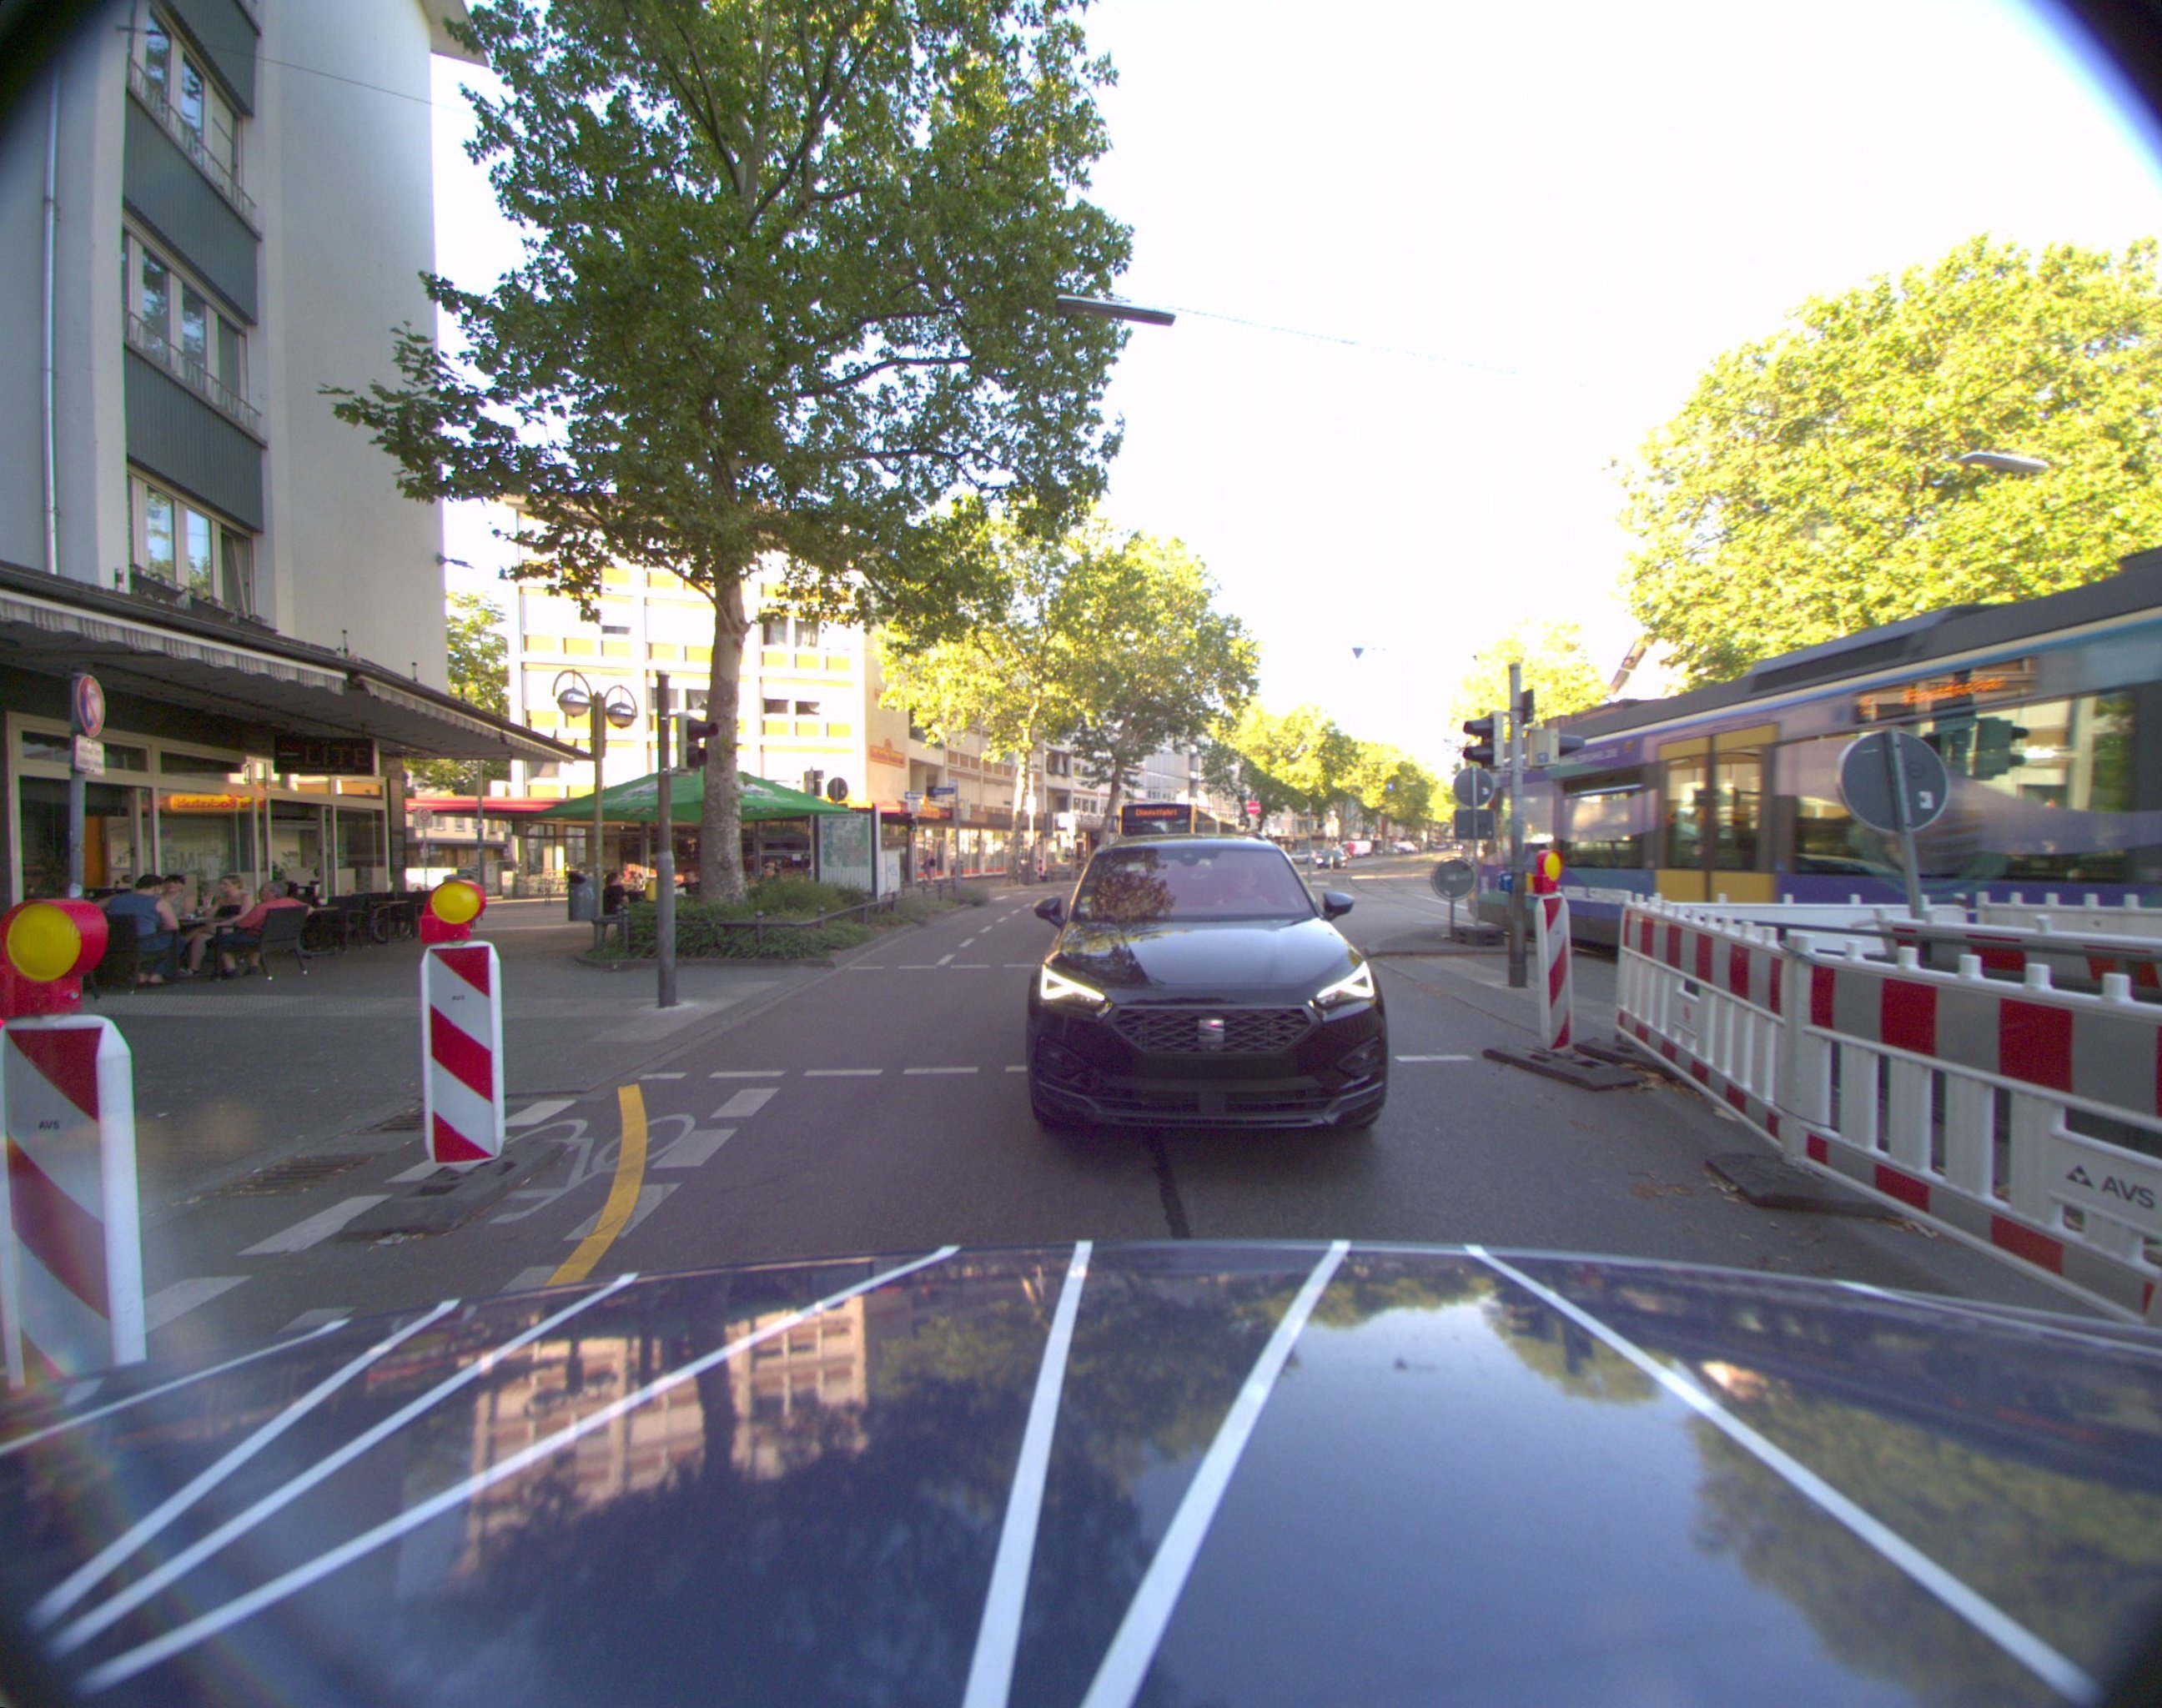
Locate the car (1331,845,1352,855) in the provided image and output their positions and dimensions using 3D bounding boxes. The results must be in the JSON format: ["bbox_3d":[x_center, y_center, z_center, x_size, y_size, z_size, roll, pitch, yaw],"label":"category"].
[{"bbox_3d":[36.703,-0.625,107.034,2.627,1.338,1.201,-1,2,3],"label":"car"}]

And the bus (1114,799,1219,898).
[{"bbox_3d":[3.523,-0.227,28.630,2.750,3.085,9.506,0,1,14],"label":"bus"}]

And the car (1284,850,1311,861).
[{"bbox_3d":[24.235,0.135,85.075,2.629,1.209,1.200,-1,2,-6],"label":"car"}]

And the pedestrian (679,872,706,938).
[{"bbox_3d":[-7.415,0.960,14.499,0.433,1.212,0.467,0,1,-29],"label":"pedestrian"}]

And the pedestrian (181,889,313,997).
[{"bbox_3d":[-9.851,1.019,9.015,0.847,1.191,0.649,1,0,-22],"label":"pedestrian"}]

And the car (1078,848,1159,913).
[{"bbox_3d":[1.098,0.624,20.166,1.743,1.492,4.301,-2,0,7],"label":"car"}]

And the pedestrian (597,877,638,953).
[{"bbox_3d":[-7.784,1.011,12.764,0.469,1.212,0.431,-2,1,-44],"label":"pedestrian"}]

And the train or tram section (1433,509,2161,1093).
[{"bbox_3d":[7.924,-0.375,9.013,2.842,3.467,10.338,-1,1,1],"label":"train or tram section"}]

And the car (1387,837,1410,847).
[{"bbox_3d":[64.313,-2.485,153.885,4.000,2.002,1.879,-1,1,-8],"label":"car"}]

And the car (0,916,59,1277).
[{"bbox_3d":[-5.152,0.992,1.441,1.623,1.457,3.604,2,0,-2],"label":"car"}]

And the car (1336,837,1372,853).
[{"bbox_3d":[40.630,-1.320,113.133,4.868,2.362,1.878,-1,2,-10],"label":"car"}]

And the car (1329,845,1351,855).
[{"bbox_3d":[35.457,-0.551,104.240,2.627,1.380,1.201,-1,2,3],"label":"car"}]

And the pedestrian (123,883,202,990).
[{"bbox_3d":[-11.247,0.986,9.307,0.519,1.236,0.553,0,0,34],"label":"pedestrian"}]

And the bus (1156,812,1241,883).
[{"bbox_3d":[6.059,-0.338,37.745,2.749,3.085,9.508,0,1,17],"label":"bus"}]

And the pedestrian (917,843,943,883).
[{"bbox_3d":[-6.786,0.403,34.153,0.748,1.747,0.903,0,1,17],"label":"pedestrian"}]

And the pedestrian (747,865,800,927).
[{"bbox_3d":[-6.545,0.885,16.200,0.718,1.278,0.769,-1,1,13],"label":"pedestrian"}]

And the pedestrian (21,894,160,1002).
[{"bbox_3d":[-11.090,1.026,8.539,0.718,1.123,0.649,1,0,-24],"label":"pedestrian"}]

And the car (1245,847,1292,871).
[{"bbox_3d":[13.649,0.313,55.045,1.952,1.541,4.765,0,2,31],"label":"car"}]

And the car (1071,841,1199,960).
[{"bbox_3d":[0.966,0.642,12.801,1.743,1.630,4.300,-2,0,6],"label":"car"}]

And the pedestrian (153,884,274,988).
[{"bbox_3d":[-10.696,0.986,9.395,0.666,1.211,0.717,0,0,-5],"label":"pedestrian"}]

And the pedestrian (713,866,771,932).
[{"bbox_3d":[-6.813,0.888,15.276,0.718,1.278,0.769,-1,1,14],"label":"pedestrian"}]

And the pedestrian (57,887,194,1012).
[{"bbox_3d":[-10.223,0.984,8.164,0.651,1.244,0.716,0,0,-24],"label":"pedestrian"}]

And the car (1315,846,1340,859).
[{"bbox_3d":[29.777,-0.163,91.693,2.627,1.464,1.201,-1,2,3],"label":"car"}]

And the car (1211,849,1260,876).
[{"bbox_3d":[9.472,0.455,46.248,1.908,1.467,4.425,0,2,26],"label":"car"}]

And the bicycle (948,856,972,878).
[{"bbox_3d":[-6.673,0.697,42.048,0.528,1.136,1.976,-1,1,15],"label":"bicycle"}]

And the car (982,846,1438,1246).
[{"bbox_3d":[0.681,0.802,5.326,1.848,1.648,4.300,-2,0,4],"label":"car"}]

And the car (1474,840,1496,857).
[{"bbox_3d":[46.929,-0.669,88.212,1.994,1.856,4.007,0,1,31],"label":"car"}]

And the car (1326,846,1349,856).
[{"bbox_3d":[34.050,-0.402,100.955,2.627,1.274,1.201,-1,2,3],"label":"car"}]

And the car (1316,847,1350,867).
[{"bbox_3d":[20.073,0.209,60.383,1.952,1.467,4.764,0,2,26],"label":"car"}]
